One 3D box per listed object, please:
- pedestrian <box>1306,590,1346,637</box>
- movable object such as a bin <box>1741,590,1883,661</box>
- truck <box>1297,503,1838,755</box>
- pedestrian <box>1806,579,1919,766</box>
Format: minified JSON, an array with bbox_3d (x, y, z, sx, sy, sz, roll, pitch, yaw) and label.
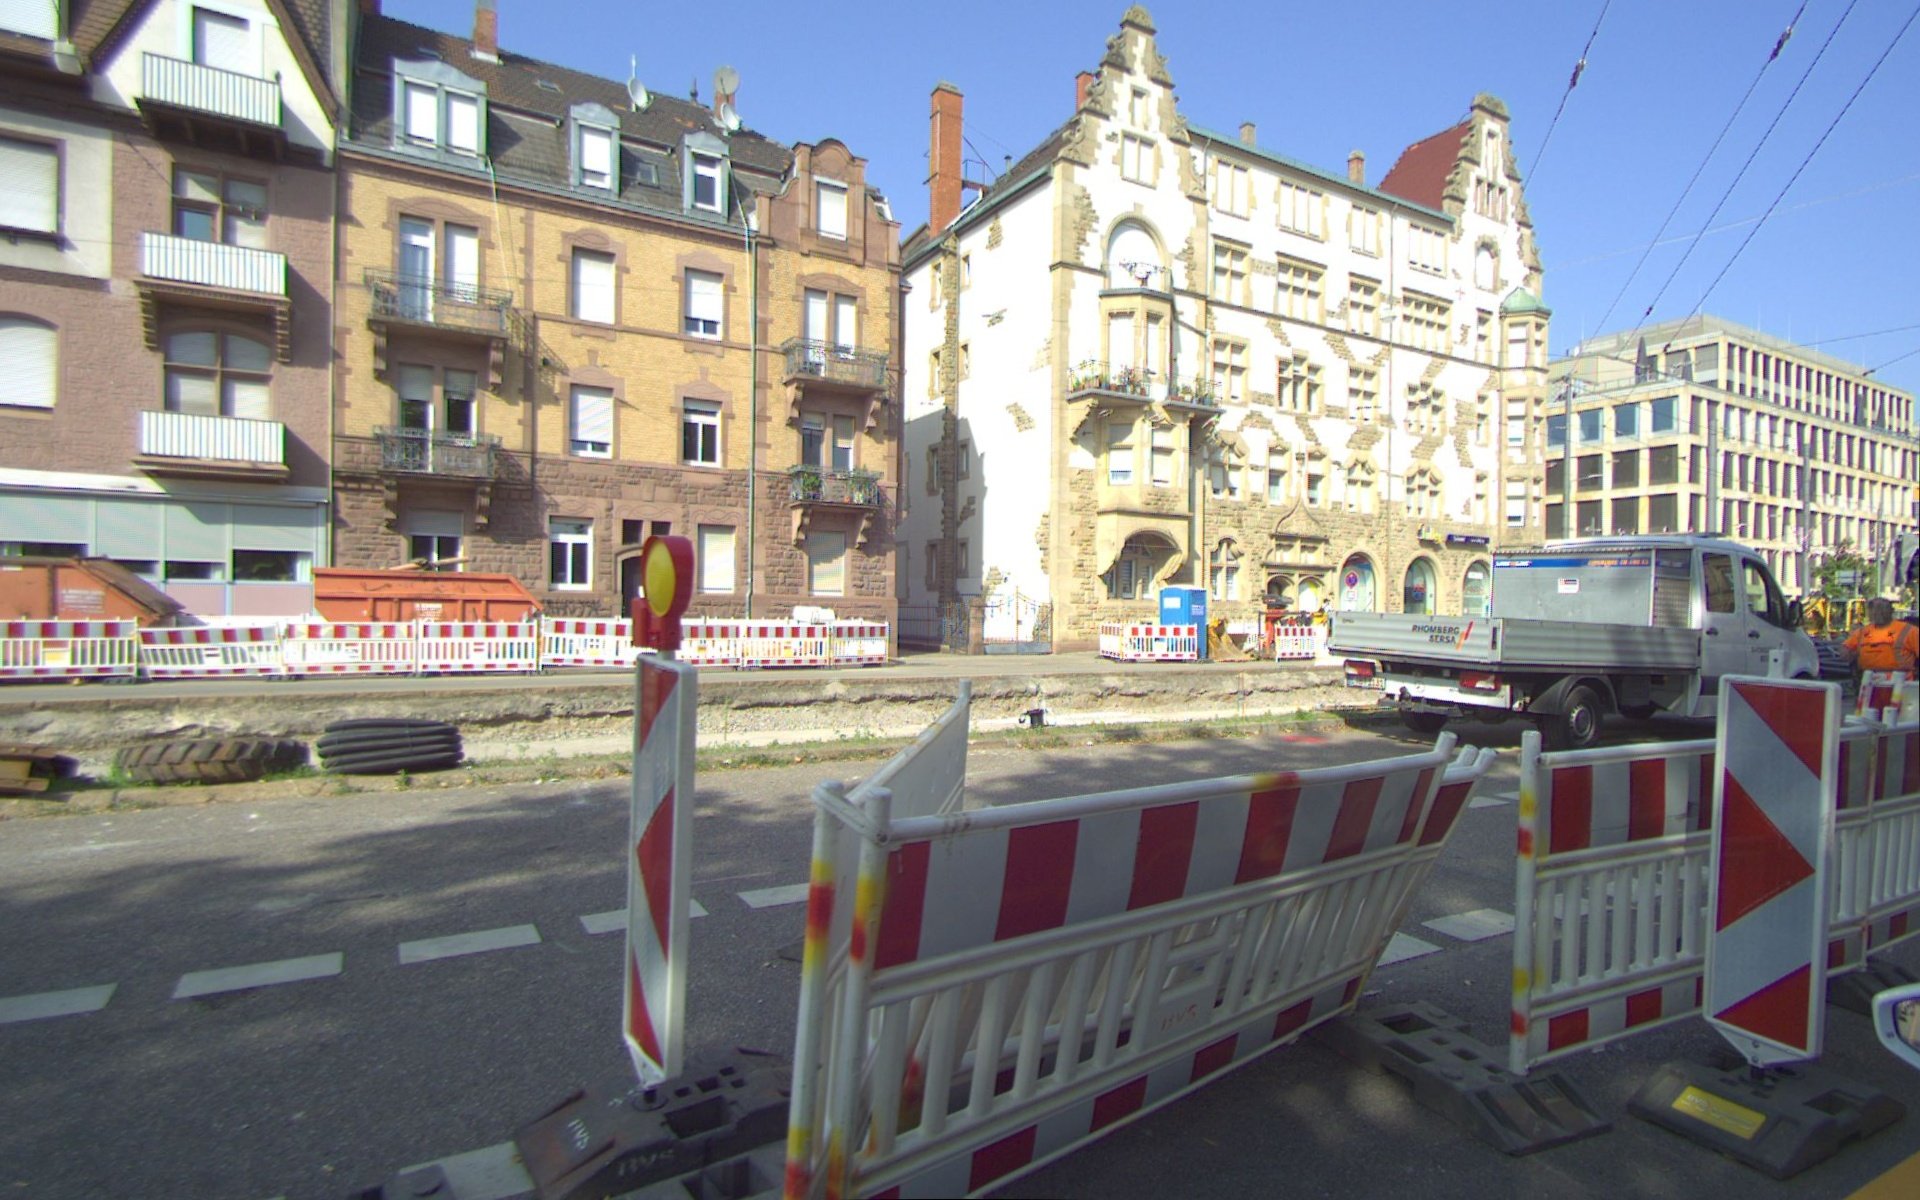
[{"bbox_3d":[13.996,0.529,38.423,1.132,1.764,0.910,1,-1,-30],"label":"pedestrian"},{"bbox_3d":[43.499,1.316,51.230,8.244,3.374,2.834,1,-1,-29],"label":"movable object such as a bin"},{"bbox_3d":[7.207,0.334,11.600,6.963,2.251,2.149,1,-1,-28],"label":"truck"},{"bbox_3d":[9.212,0.688,9.927,1.083,1.733,1.026,1,-1,-31],"label":"pedestrian"}]
